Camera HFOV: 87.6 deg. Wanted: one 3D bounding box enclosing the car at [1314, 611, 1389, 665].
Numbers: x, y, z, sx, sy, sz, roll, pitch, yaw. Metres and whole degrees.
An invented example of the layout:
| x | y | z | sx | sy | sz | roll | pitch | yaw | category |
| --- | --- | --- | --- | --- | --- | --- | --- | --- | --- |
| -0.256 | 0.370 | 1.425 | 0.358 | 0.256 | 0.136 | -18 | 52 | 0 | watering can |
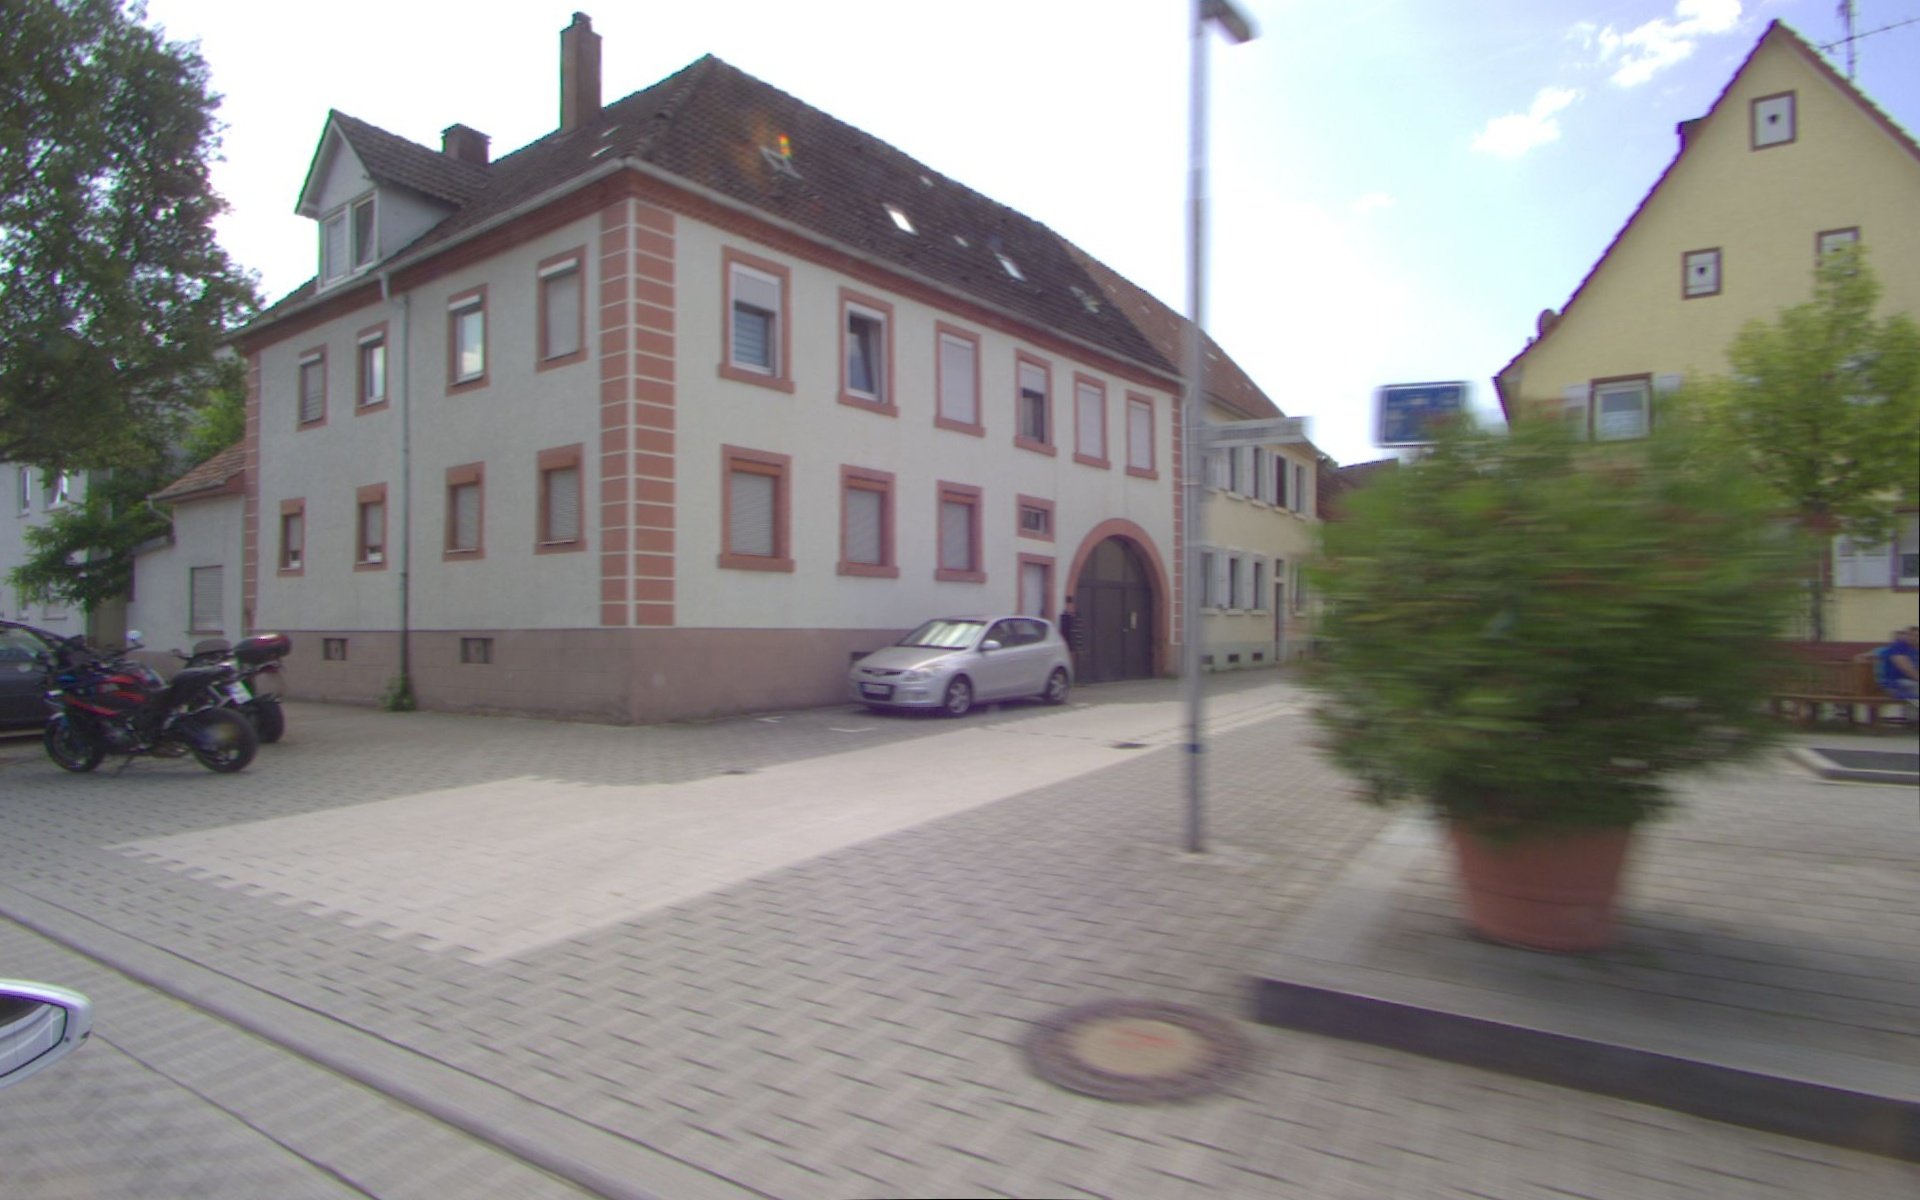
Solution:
| x | y | z | sx | sy | sz | roll | pitch | yaw | category |
| --- | --- | --- | --- | --- | --- | --- | --- | --- | --- |
| 12.934 | 1.188 | 33.002 | 1.584 | 1.641 | 3.653 | 1 | 0 | 33 | car |

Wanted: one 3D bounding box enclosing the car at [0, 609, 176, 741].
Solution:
| x | y | z | sx | sy | sz | roll | pitch | yaw | category |
| --- | --- | --- | --- | --- | --- | --- | --- | --- | --- |
| -12.661 | 0.951 | 12.736 | 1.824 | 1.598 | 3.841 | 0 | 0 | 31 | car |

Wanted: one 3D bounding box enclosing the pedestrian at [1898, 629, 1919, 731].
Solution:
| x | y | z | sx | sy | sz | roll | pitch | yaw | category |
| --- | --- | --- | --- | --- | --- | --- | --- | --- | --- |
| 12.583 | 1.018 | 12.731 | 0.527 | 1.301 | 0.789 | -1 | 0 | -15 | pedestrian |

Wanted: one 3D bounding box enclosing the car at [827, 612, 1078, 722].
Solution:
| x | y | z | sx | sy | sz | roll | pitch | yaw | category |
| --- | --- | --- | --- | --- | --- | --- | --- | --- | --- |
| 0.003 | 0.945 | 15.636 | 1.804 | 1.492 | 3.976 | -1 | -1 | 40 | car |

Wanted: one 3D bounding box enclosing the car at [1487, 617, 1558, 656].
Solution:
| x | y | z | sx | sy | sz | roll | pitch | yaw | category |
| --- | --- | --- | --- | --- | --- | --- | --- | --- | --- |
| 21.248 | 1.351 | 37.781 | 1.974 | 1.363 | 3.519 | -1 | -1 | 35 | car |

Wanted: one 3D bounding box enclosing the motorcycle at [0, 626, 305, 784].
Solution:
| x | y | z | sx | sy | sz | roll | pitch | yaw | category |
| --- | --- | --- | --- | --- | --- | --- | --- | --- | --- |
| -7.746 | 0.966 | 9.682 | 2.184 | 1.413 | 0.872 | 0 | 0 | -12 | motorcycle |

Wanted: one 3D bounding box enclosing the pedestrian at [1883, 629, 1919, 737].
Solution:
| x | y | z | sx | sy | sz | roll | pitch | yaw | category |
| --- | --- | --- | --- | --- | --- | --- | --- | --- | --- |
| 12.031 | 1.020 | 12.382 | 0.603 | 1.301 | 0.671 | -1 | 0 | -15 | pedestrian |

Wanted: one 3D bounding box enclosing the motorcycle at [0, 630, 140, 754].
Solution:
| x | y | z | sx | sy | sz | roll | pitch | yaw | category |
| --- | --- | --- | --- | --- | --- | --- | --- | --- | --- |
| -10.317 | 1.014 | 11.501 | 2.150 | 1.315 | 0.628 | -1 | 0 | 29 | motorcycle |

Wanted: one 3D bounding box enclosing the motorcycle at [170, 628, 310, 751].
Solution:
| x | y | z | sx | sy | sz | roll | pitch | yaw | category |
| --- | --- | --- | --- | --- | --- | --- | --- | --- | --- |
| -8.804 | 1.027 | 12.210 | 2.201 | 1.316 | 0.954 | -1 | 1 | 43 | motorcycle |
